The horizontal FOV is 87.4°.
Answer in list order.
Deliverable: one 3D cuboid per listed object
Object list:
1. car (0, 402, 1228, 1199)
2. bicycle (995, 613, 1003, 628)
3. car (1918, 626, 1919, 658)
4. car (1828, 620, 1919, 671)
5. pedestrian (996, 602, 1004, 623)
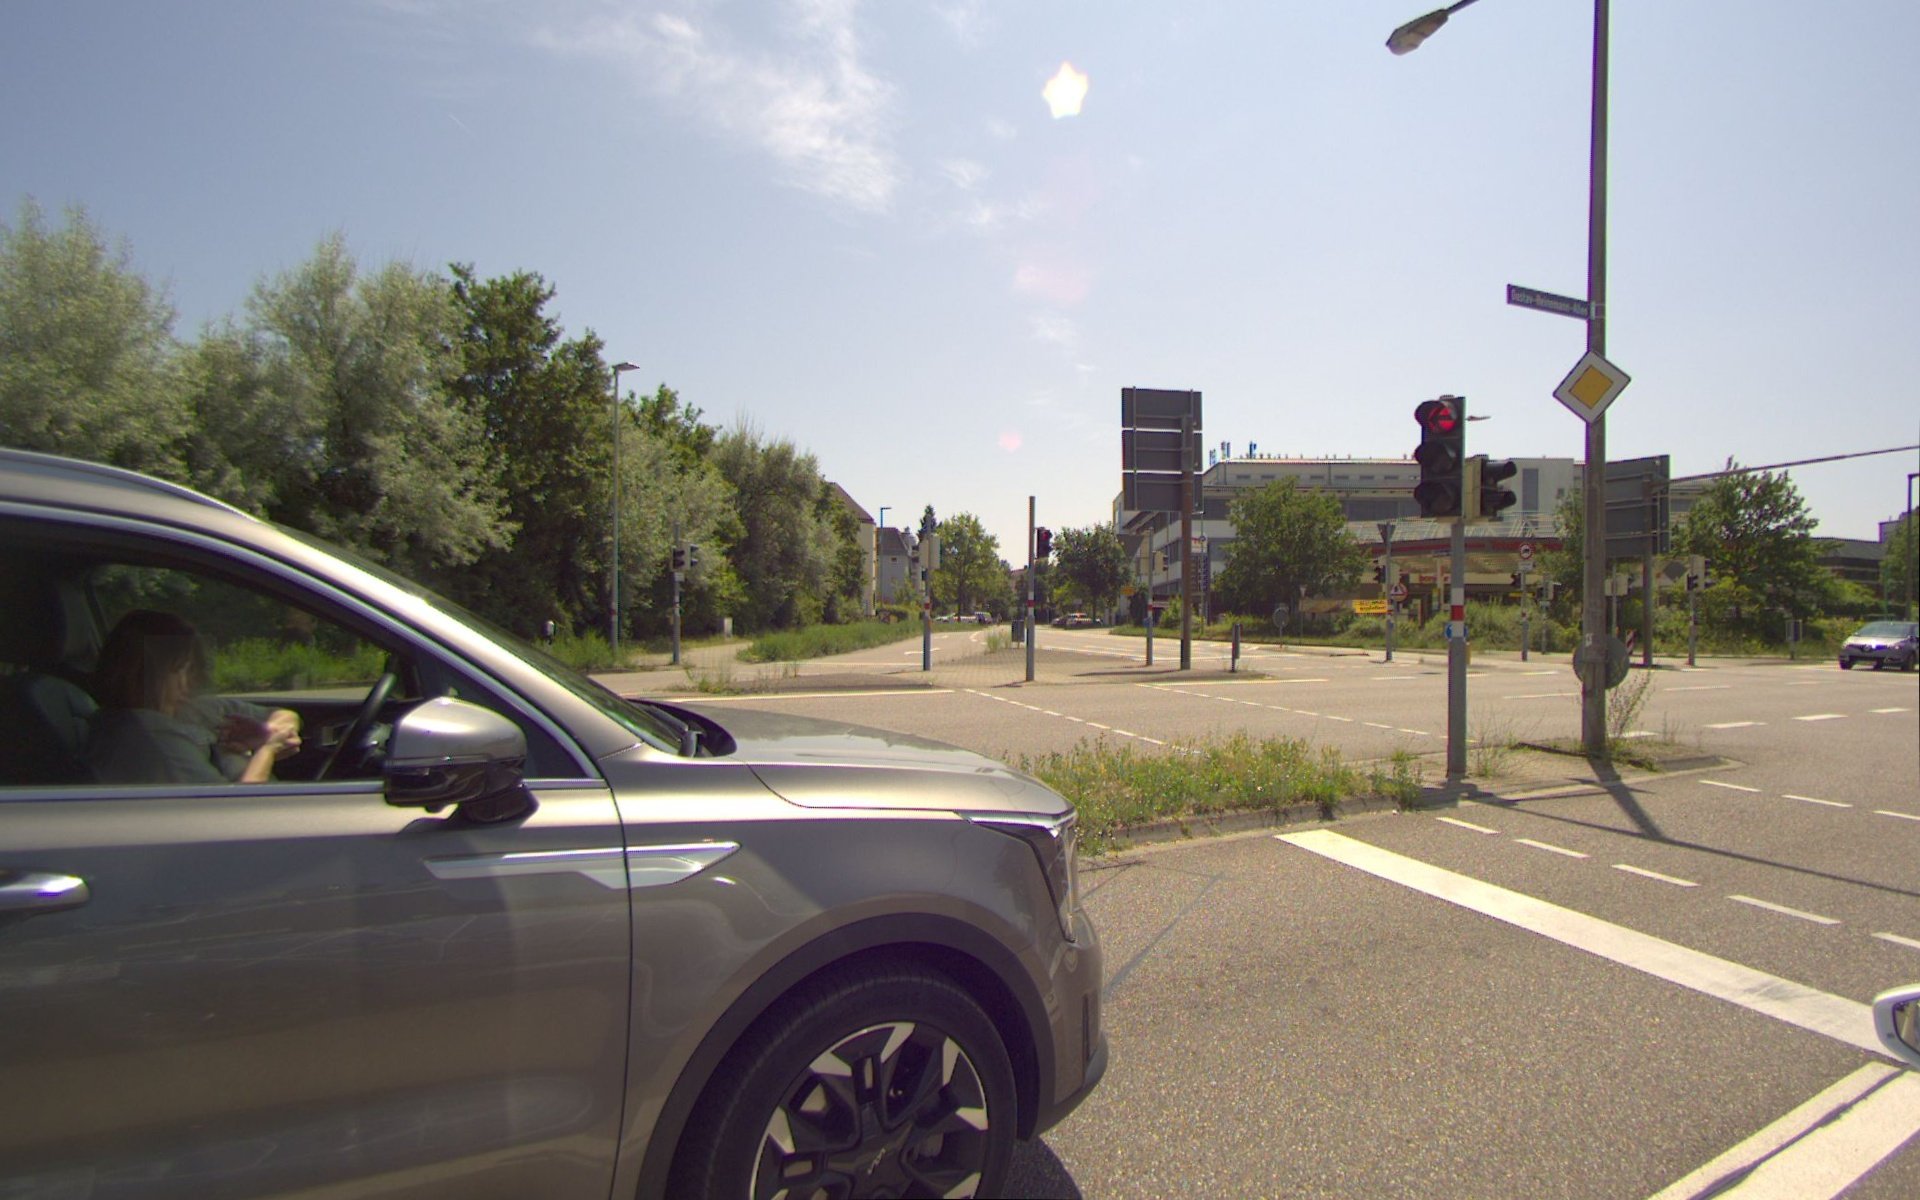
[{"bbox_3d":[-1.696,0.593,2.086,4.480,1.690,1.771,1,-1,-31],"label":"car"},{"bbox_3d":[5.366,2.747,136.985,0.876,2.040,3.196,0,-1,6],"label":"bicycle"},{"bbox_3d":[45.914,1.979,46.057,3.780,1.469,1.816,2,-1,-28],"label":"car"},{"bbox_3d":[30.083,1.449,32.686,3.954,1.560,1.650,1,-1,-31],"label":"car"},{"bbox_3d":[5.468,1.733,137.249,0.864,2.751,1.518,2,0,8],"label":"pedestrian"}]
